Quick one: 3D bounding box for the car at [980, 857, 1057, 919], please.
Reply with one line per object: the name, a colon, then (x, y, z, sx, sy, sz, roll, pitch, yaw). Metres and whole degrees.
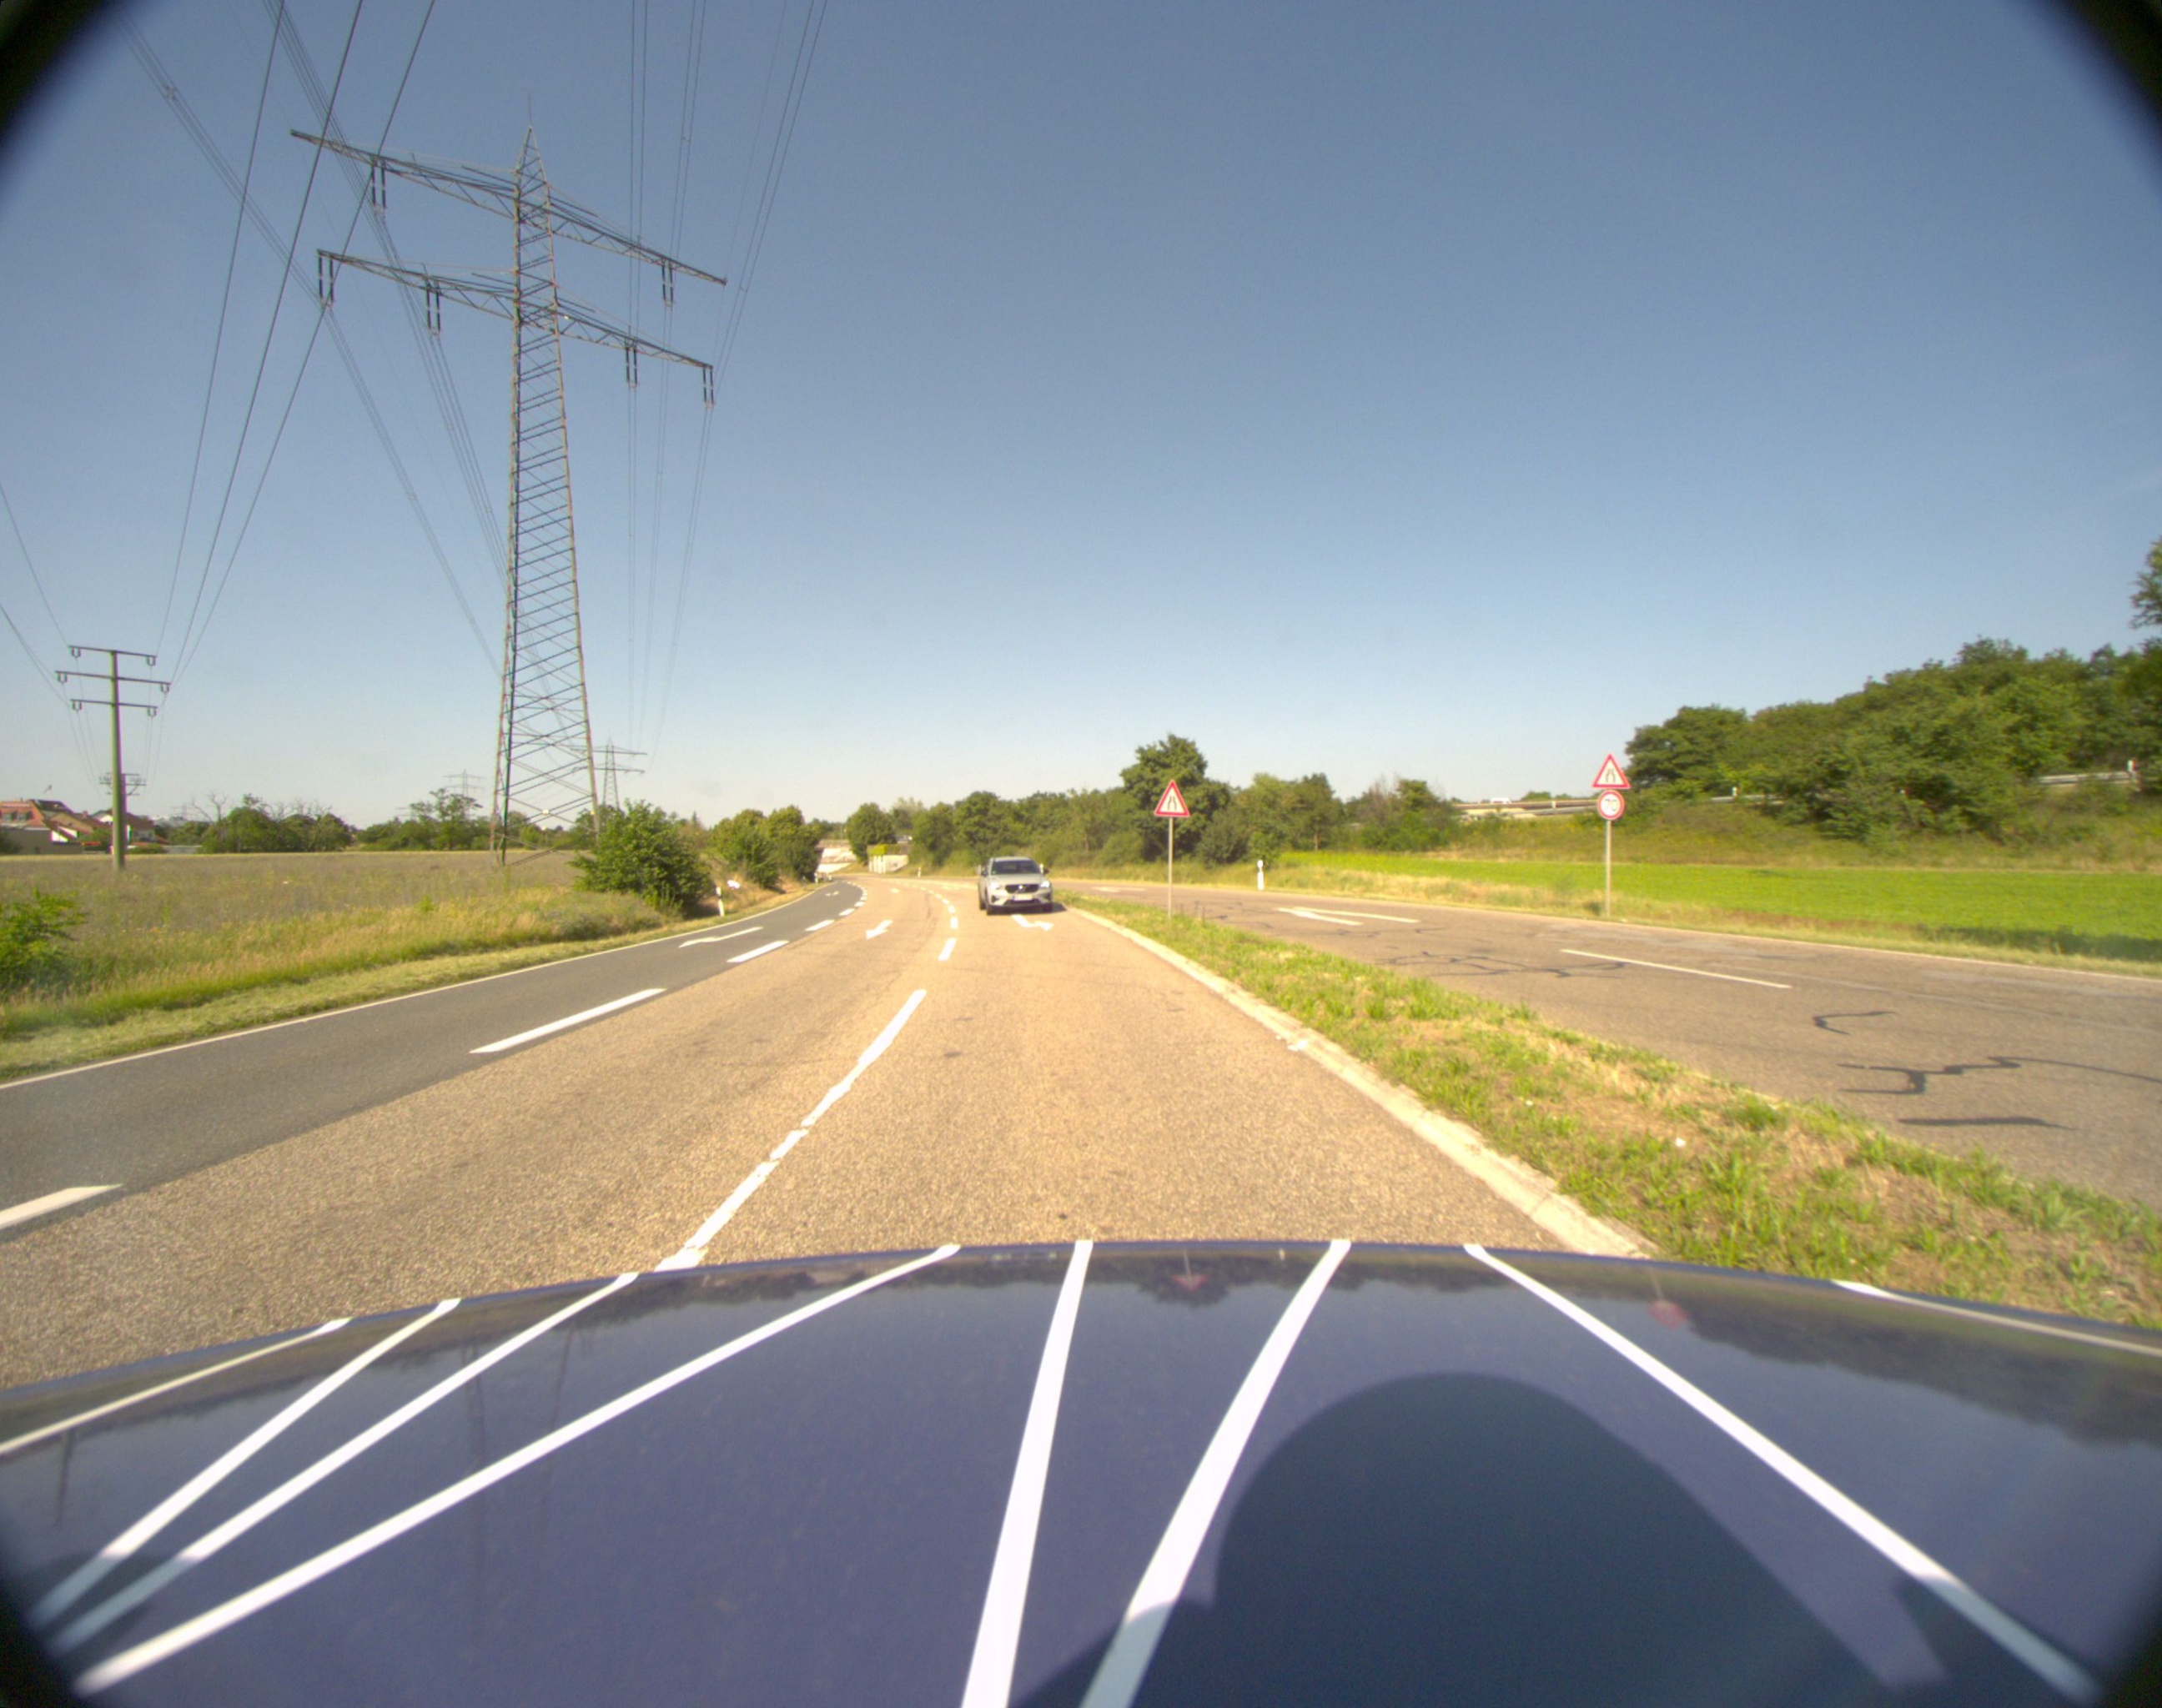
car: (-1.917, 0.946, 22.409, 1.861, 1.609, 3.644, -2, 0, -10)
